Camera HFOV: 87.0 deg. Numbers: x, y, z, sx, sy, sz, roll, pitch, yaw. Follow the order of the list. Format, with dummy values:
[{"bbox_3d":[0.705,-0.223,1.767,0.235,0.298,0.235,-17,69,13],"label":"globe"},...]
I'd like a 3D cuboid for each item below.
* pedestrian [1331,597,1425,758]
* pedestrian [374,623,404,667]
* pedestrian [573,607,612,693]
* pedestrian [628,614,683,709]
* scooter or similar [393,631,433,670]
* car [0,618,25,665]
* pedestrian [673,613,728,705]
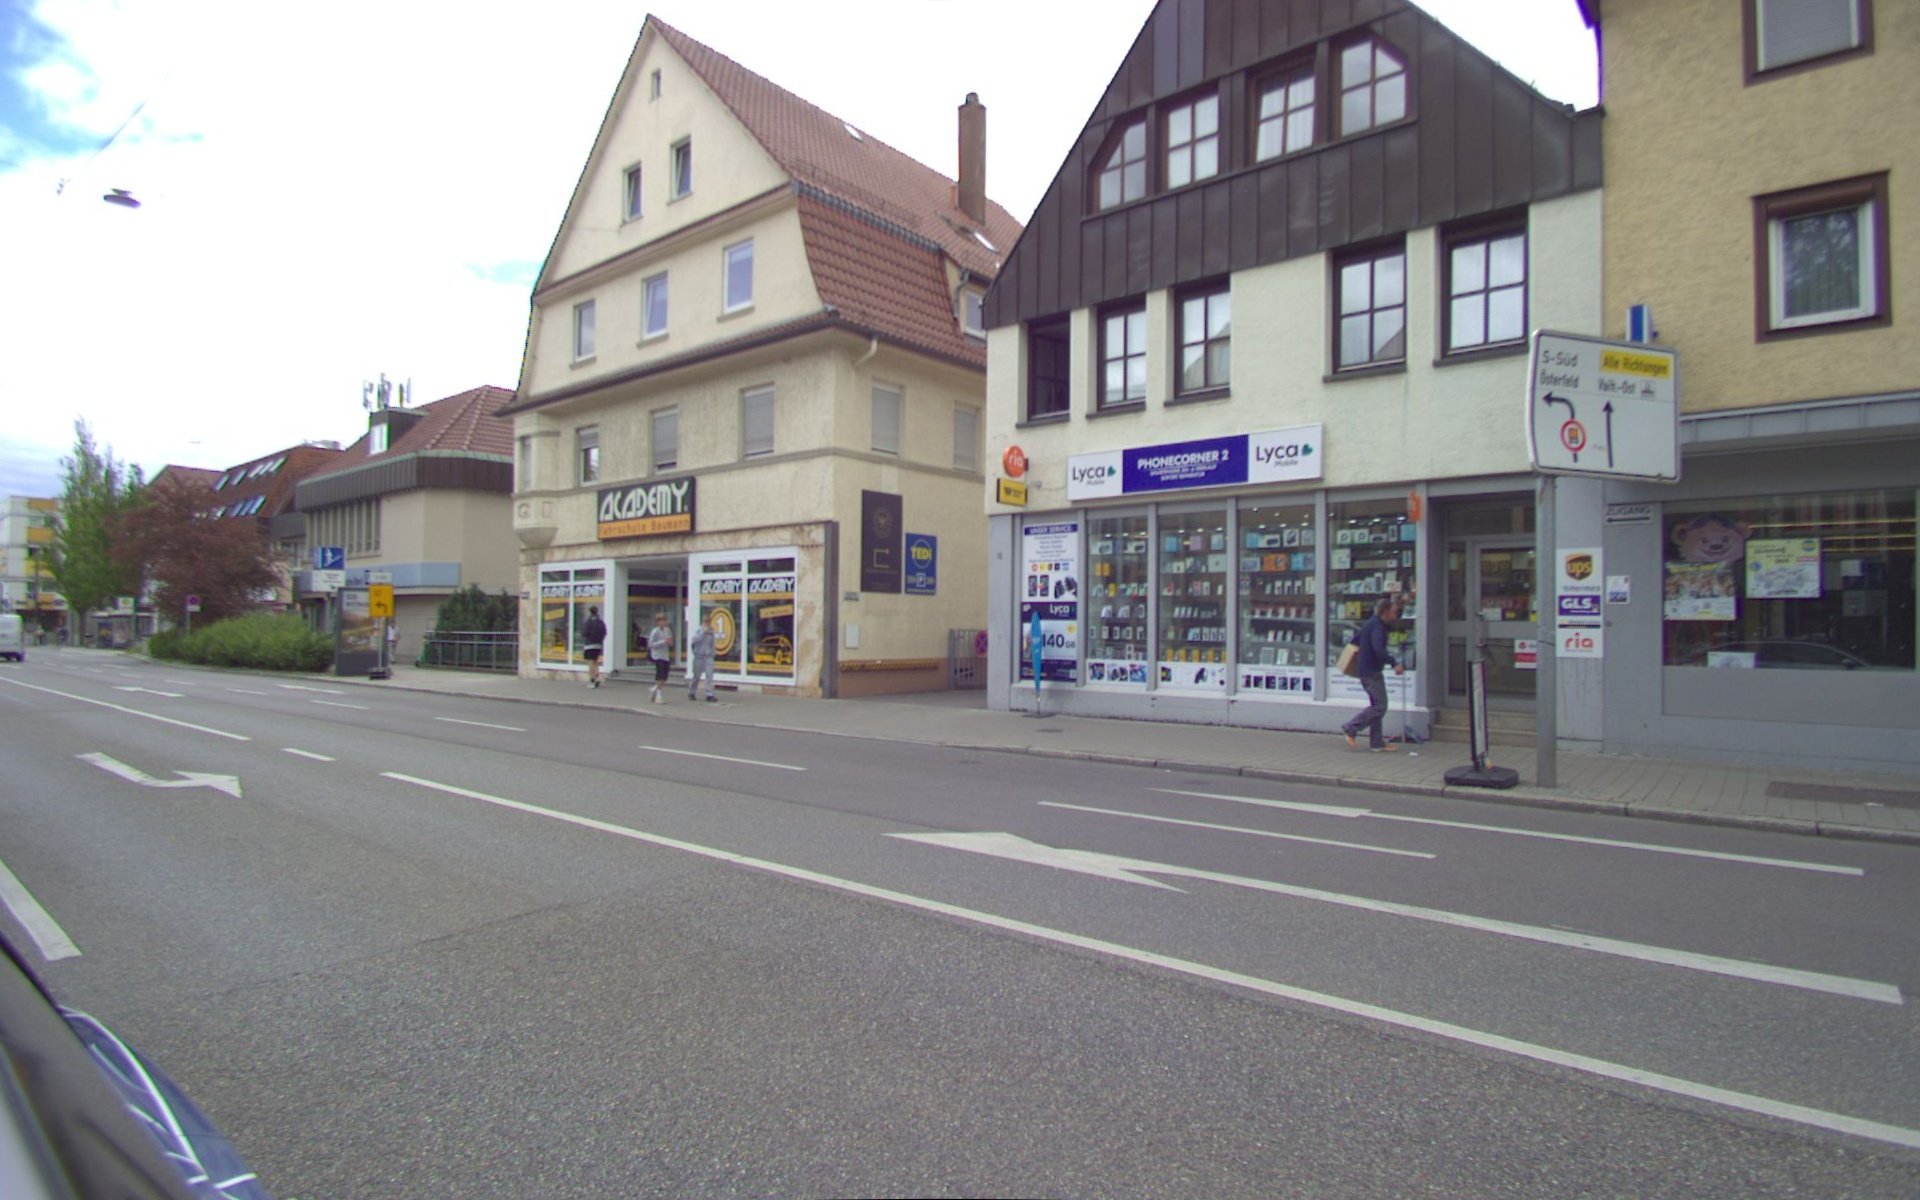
[{"bbox_3d":[4.719,0.841,11.428,0.775,1.726,0.679,-2,-1,41],"label":"pedestrian"},{"bbox_3d":[-23.133,1.817,41.009,0.837,1.772,0.825,-2,-3,41],"label":"pedestrian"},{"bbox_3d":[-8.319,1.115,22.912,0.592,1.903,0.544,-2,-1,37],"label":"pedestrian"},{"bbox_3d":[-5.660,1.123,18.798,0.742,1.703,0.680,-2,-1,41],"label":"pedestrian"},{"bbox_3d":[-19.710,1.804,36.487,0.536,1.404,1.182,-1,-2,26],"label":"scooter or similar"},{"bbox_3d":[-41.158,1.737,42.710,4.318,1.924,1.932,-2,-2,40],"label":"car"},{"bbox_3d":[-4.950,1.117,19.334,0.709,1.683,0.681,-2,0,41],"label":"pedestrian"}]
